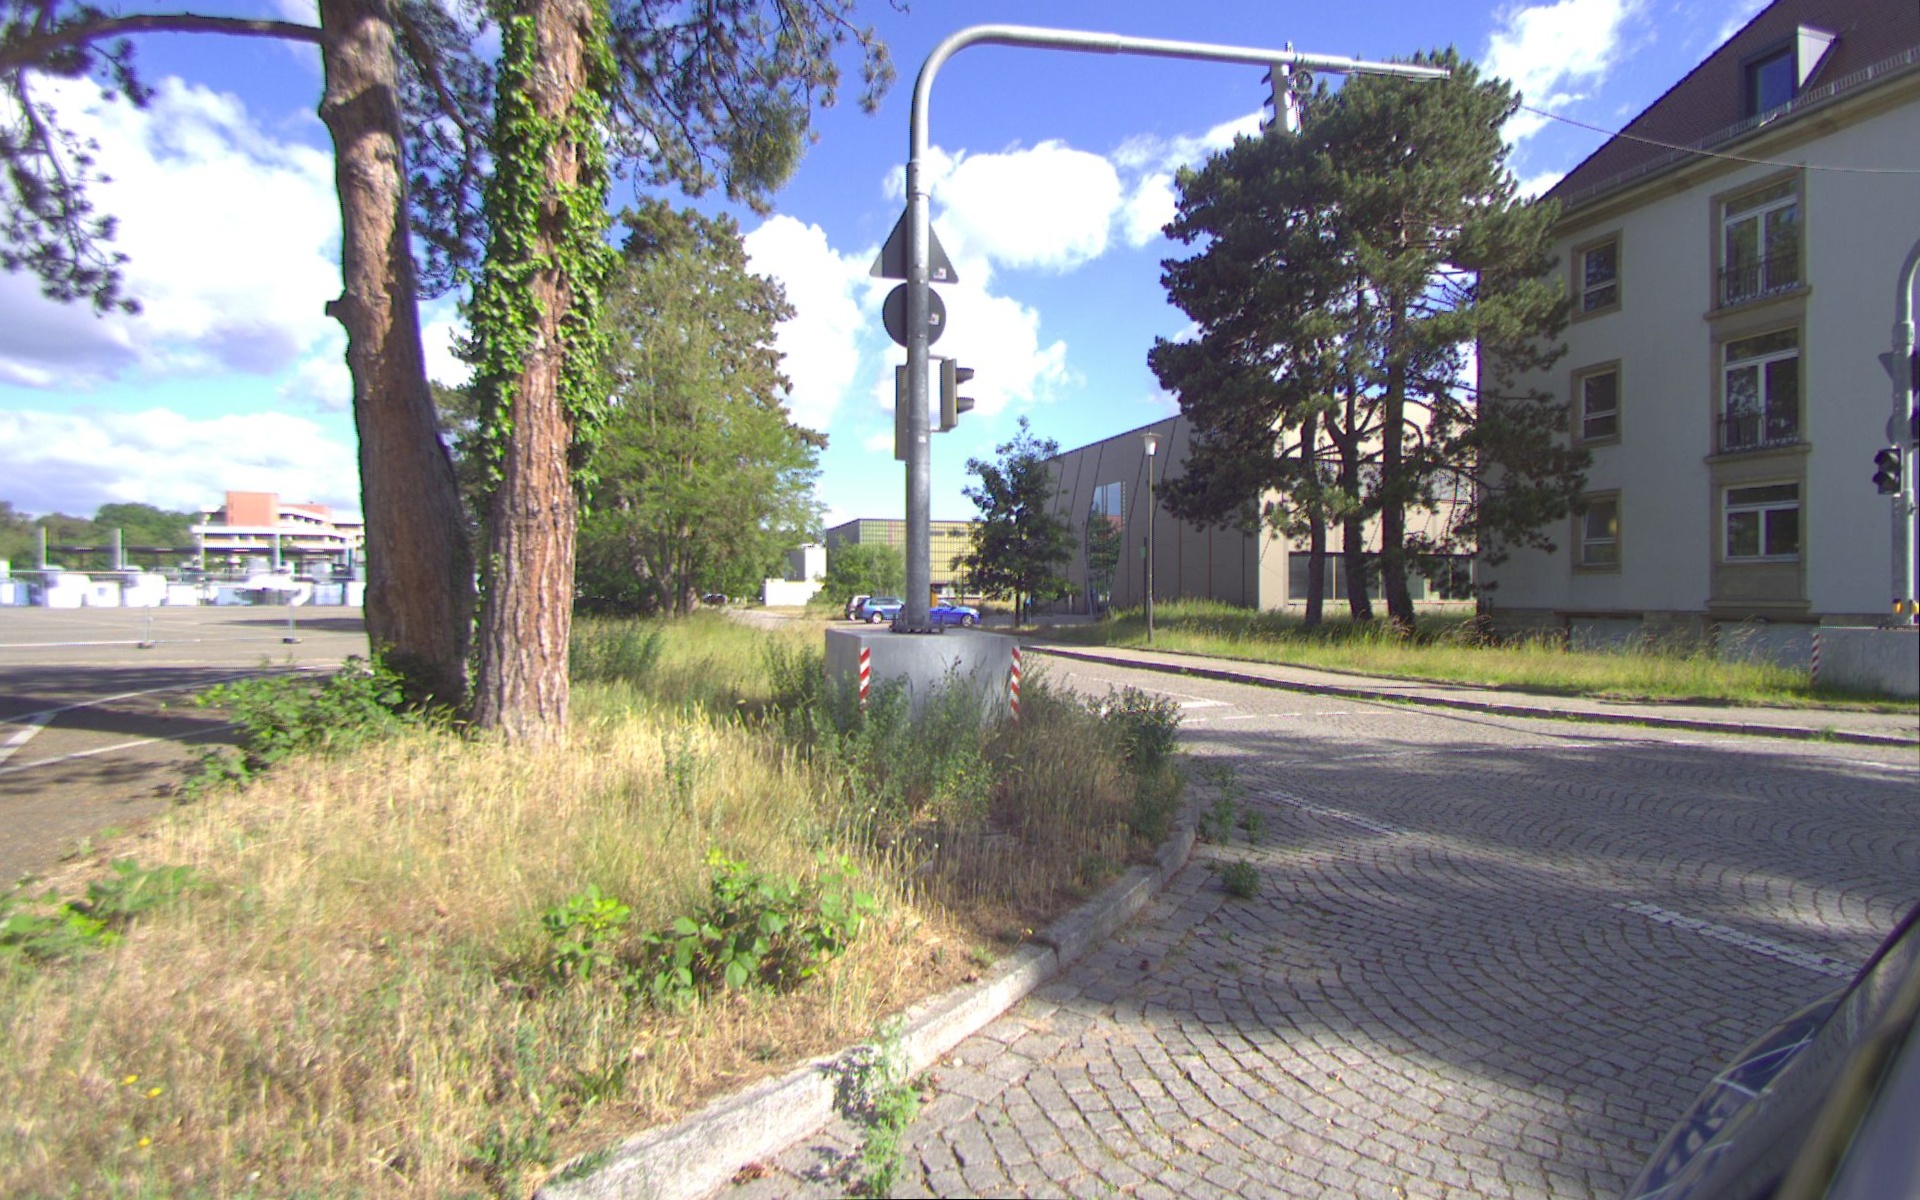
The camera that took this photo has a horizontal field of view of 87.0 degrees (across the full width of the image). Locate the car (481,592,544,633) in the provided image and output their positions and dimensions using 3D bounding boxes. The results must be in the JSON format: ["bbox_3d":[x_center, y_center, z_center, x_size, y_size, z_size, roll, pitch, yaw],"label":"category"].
[{"bbox_3d":[-16.831,0.447,38.210,1.708,1.440,4.008,1,0,-18],"label":"car"}]

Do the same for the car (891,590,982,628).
[{"bbox_3d":[-1.150,0.412,48.688,3.976,1.583,1.865,-3,1,-15],"label":"car"}]

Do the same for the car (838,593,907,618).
[{"bbox_3d":[-5.614,0.340,65.104,4.137,1.584,1.785,0,-1,-18],"label":"car"}]

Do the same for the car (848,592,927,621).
[{"bbox_3d":[-4.161,0.380,57.685,4.137,1.584,1.865,0,-3,-18],"label":"car"}]
